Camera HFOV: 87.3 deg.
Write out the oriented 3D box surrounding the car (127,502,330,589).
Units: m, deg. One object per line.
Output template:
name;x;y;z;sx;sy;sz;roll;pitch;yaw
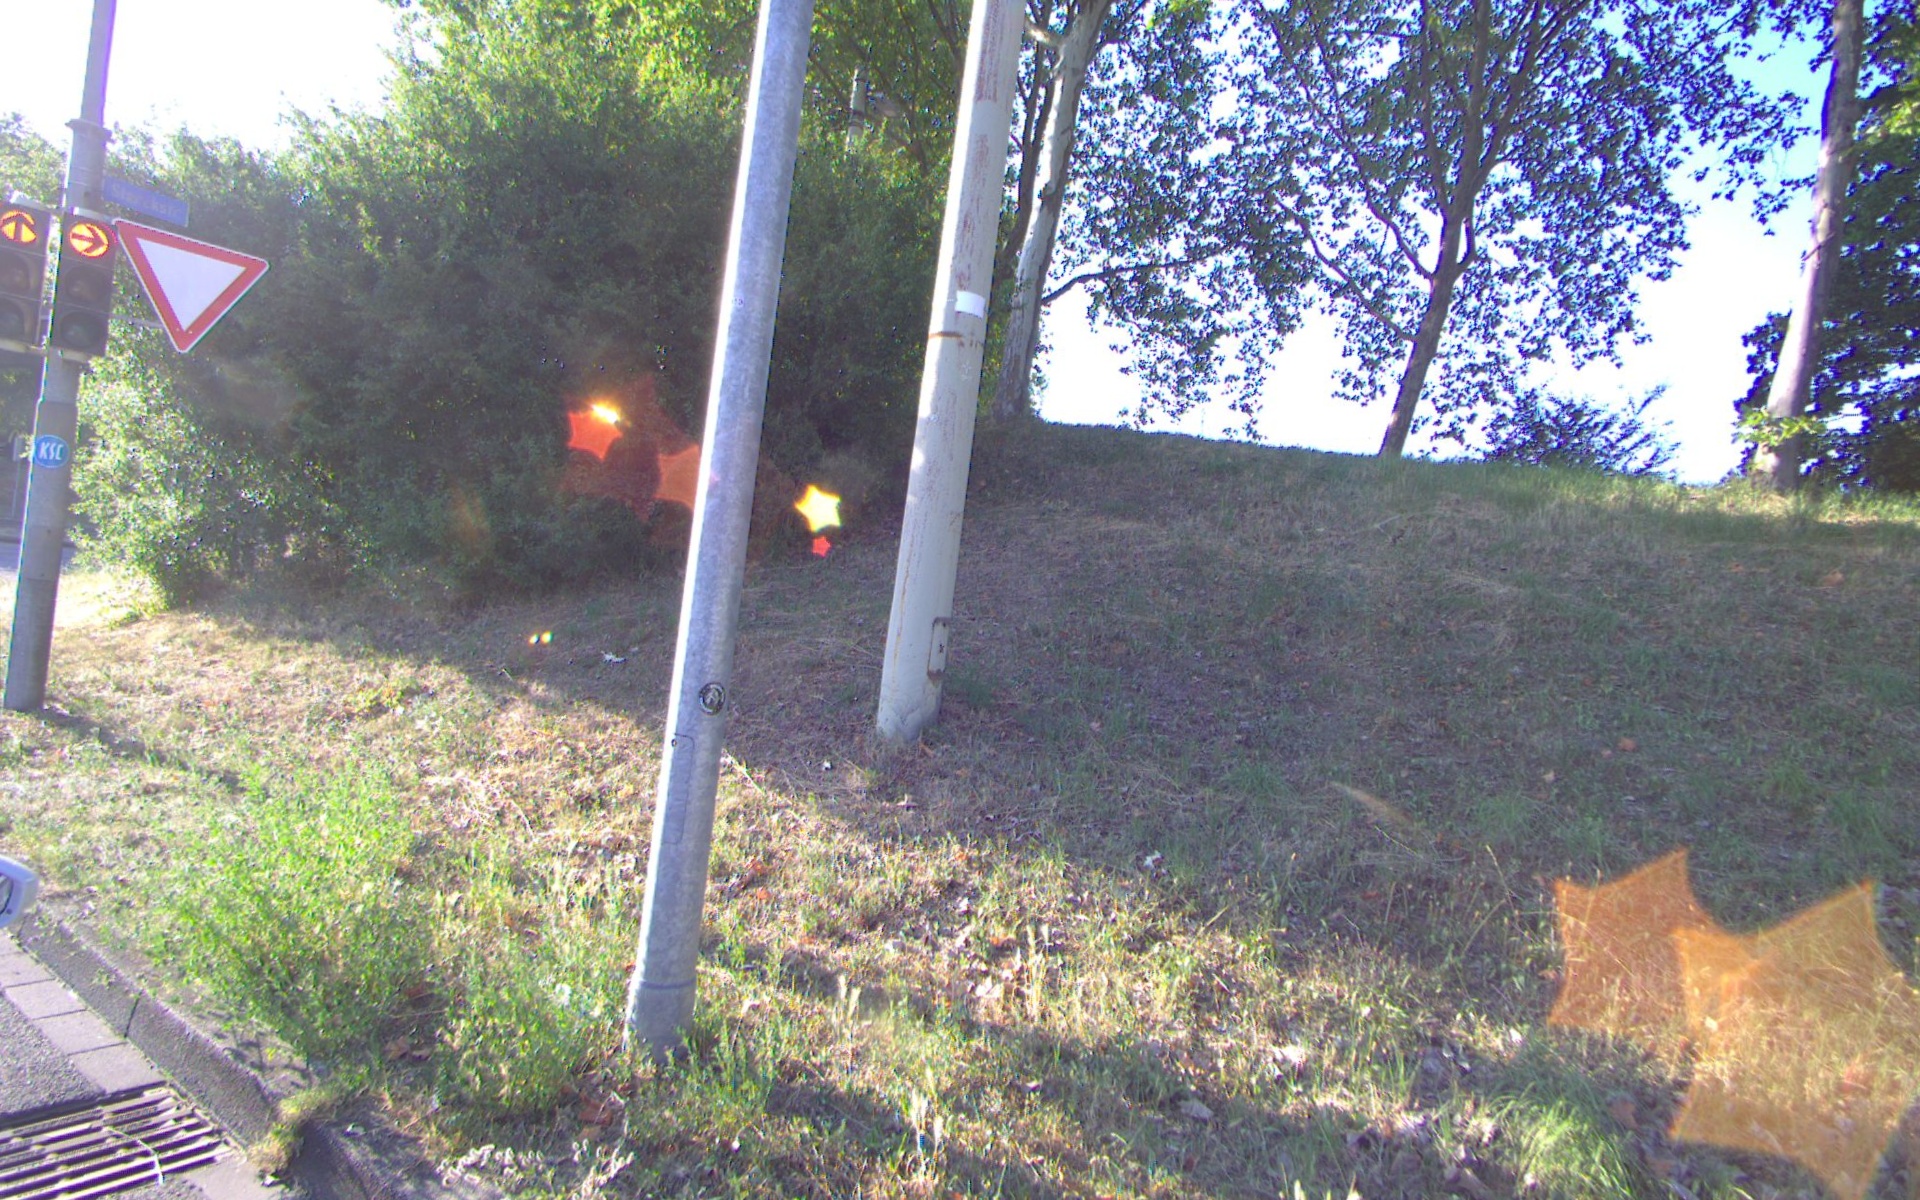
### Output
car;-18.137;-1.280;25.212;1.661;1.593;4.004;7;-1;8
